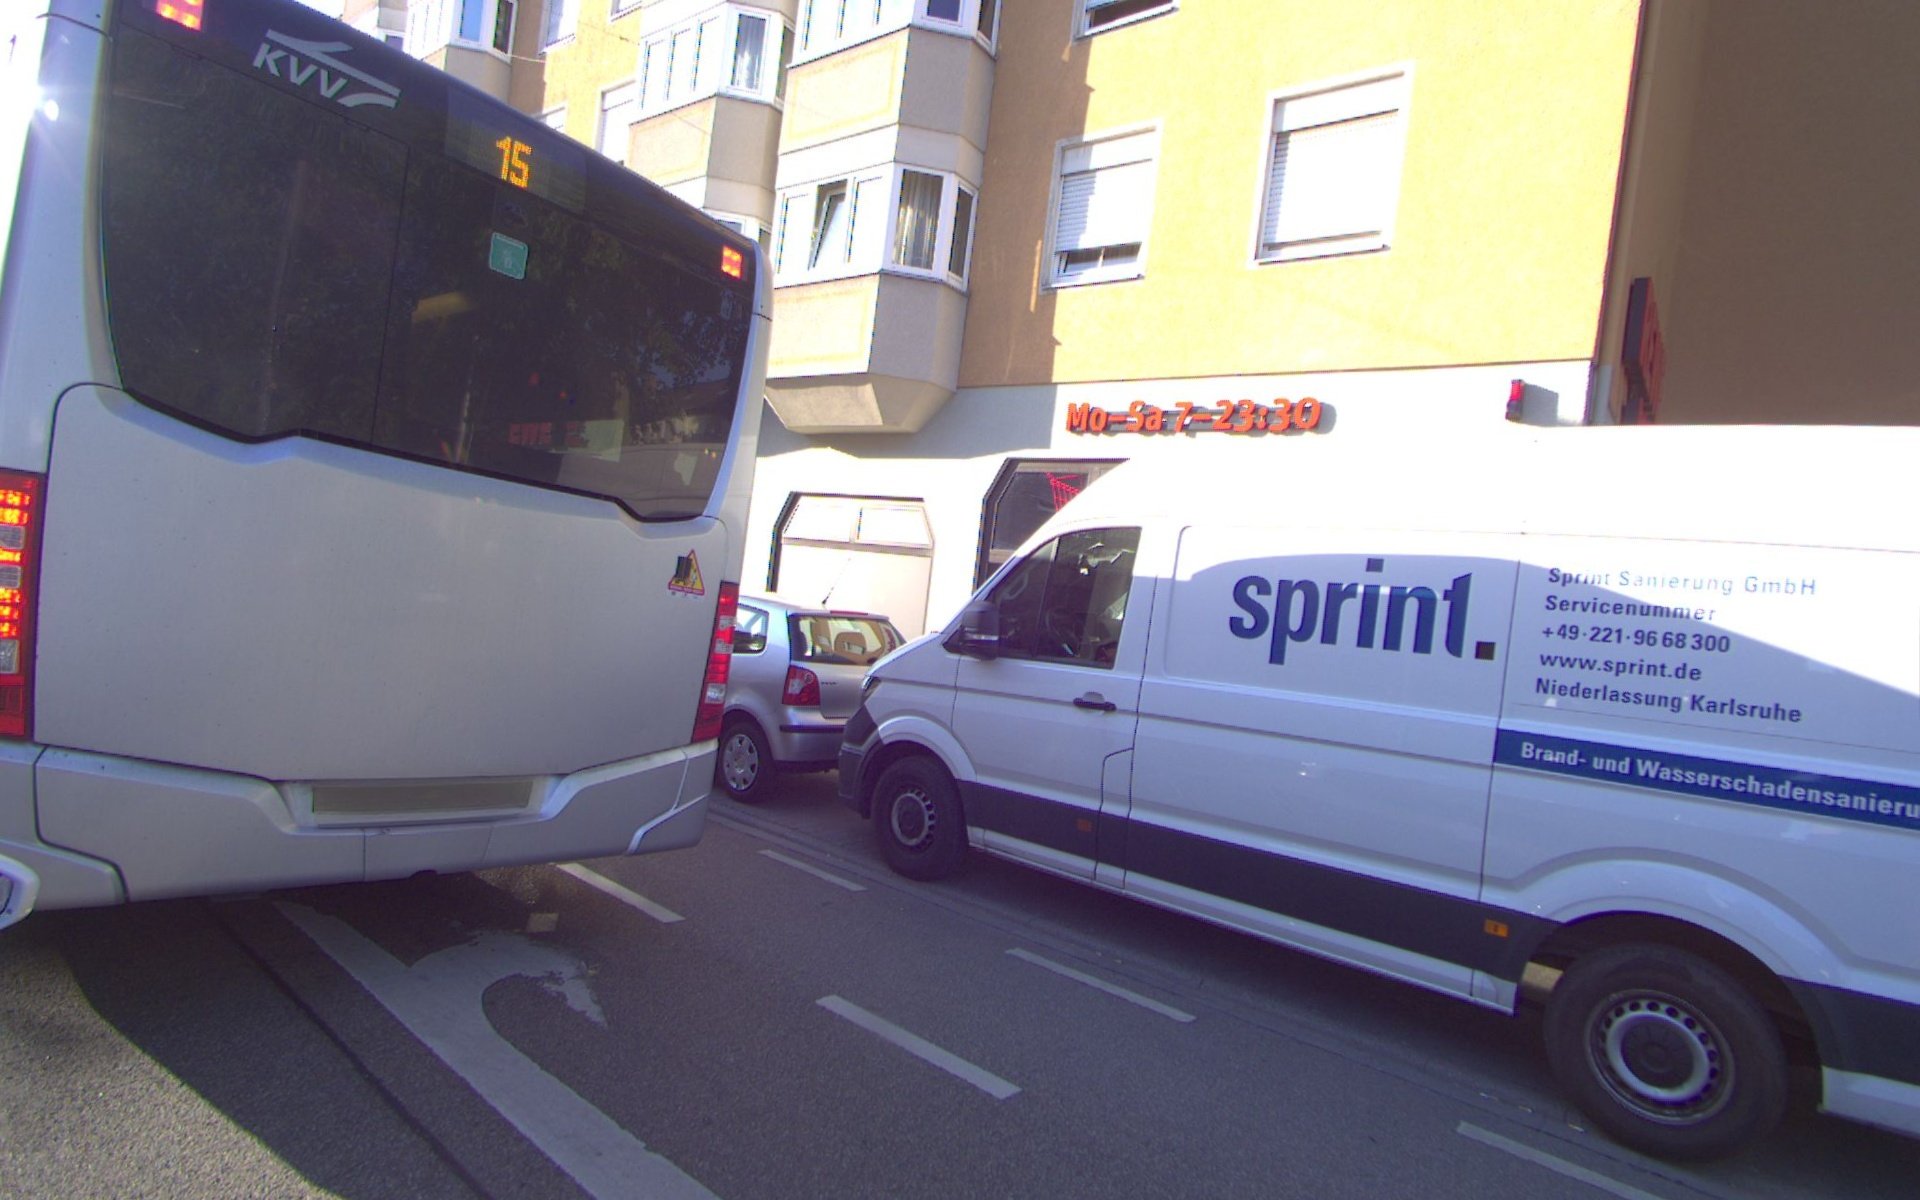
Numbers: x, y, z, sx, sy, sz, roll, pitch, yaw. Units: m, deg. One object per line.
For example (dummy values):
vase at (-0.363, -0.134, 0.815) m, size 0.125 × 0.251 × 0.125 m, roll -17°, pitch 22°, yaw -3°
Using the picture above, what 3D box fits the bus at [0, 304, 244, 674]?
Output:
bus at (-11.607, -1.345, 11.832) m, size 8.999 × 3.091 × 2.738 m, roll 7°, pitch -2°, yaw 40°

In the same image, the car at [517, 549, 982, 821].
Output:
car at (-1.906, 0.582, 8.552) m, size 3.731 × 1.607 × 1.837 m, roll 7°, pitch 0°, yaw 40°

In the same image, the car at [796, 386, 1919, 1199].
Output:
car at (1.884, 0.500, 5.175) m, size 5.701 × 2.586 × 2.012 m, roll 7°, pitch 3°, yaw 40°

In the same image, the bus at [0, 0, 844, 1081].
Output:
bus at (-4.885, -0.579, 6.158) m, size 8.726 × 3.091 × 2.738 m, roll 7°, pitch -2°, yaw 40°
